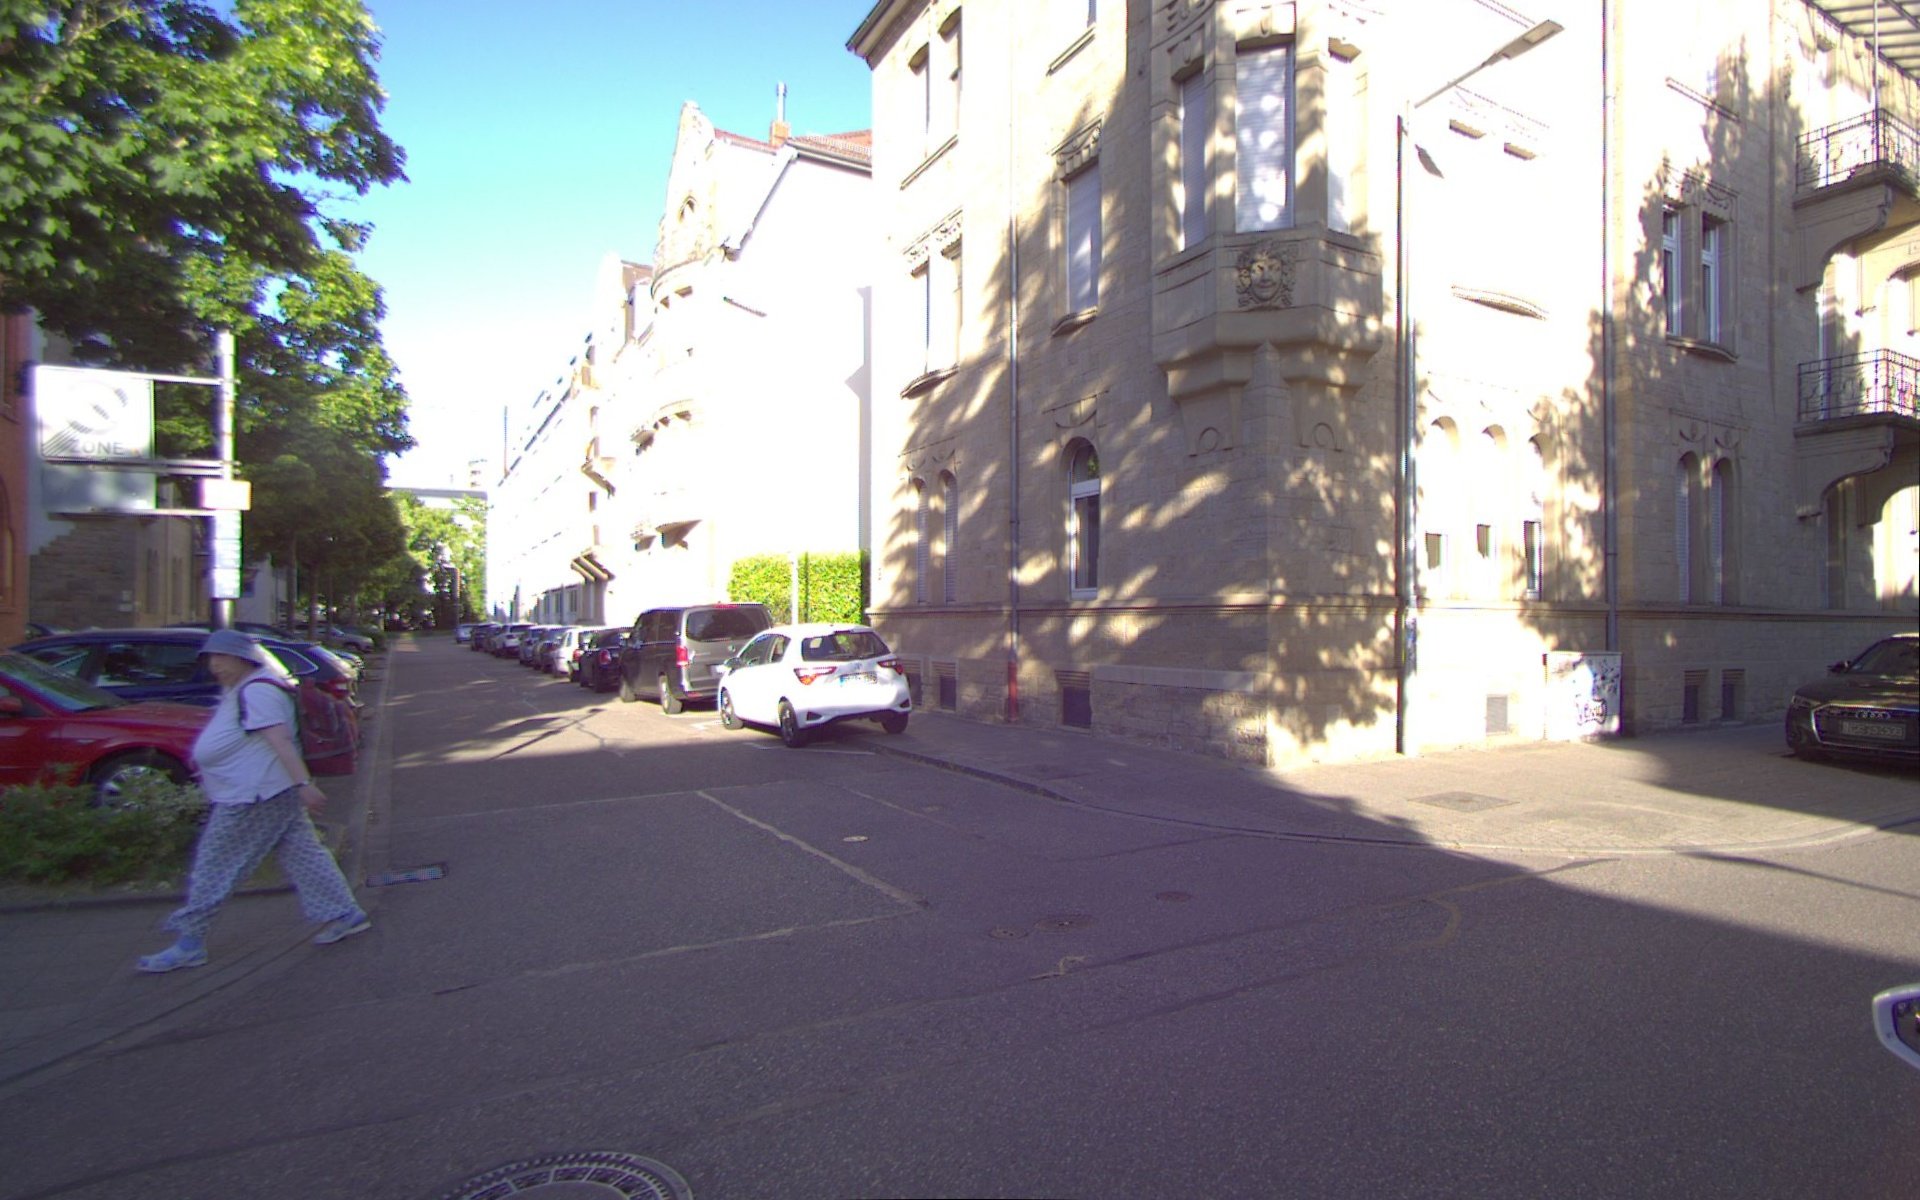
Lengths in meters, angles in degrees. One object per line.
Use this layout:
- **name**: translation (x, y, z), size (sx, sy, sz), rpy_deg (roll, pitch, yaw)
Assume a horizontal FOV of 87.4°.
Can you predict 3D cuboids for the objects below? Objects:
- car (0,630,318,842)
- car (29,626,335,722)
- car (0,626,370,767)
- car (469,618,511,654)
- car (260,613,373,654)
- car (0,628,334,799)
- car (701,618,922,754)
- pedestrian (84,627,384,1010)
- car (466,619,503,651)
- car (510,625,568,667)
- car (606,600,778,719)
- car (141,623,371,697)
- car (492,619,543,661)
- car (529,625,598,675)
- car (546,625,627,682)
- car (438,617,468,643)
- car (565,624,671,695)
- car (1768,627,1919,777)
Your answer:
- **car**: translation (-7.714, 0.993, 7.685), size (4.603, 1.488, 1.628), rpy_deg (1, -1, -30)
- **car**: translation (-13.862, 1.269, 18.257), size (4.163, 1.570, 1.705), rpy_deg (1, -2, -30)
- **car**: translation (-9.630, 1.115, 12.522), size (3.869, 1.532, 1.705), rpy_deg (2, -2, -30)
- **car**: translation (-24.971, 1.902, 53.347), size (1.633, 1.753, 3.387), rpy_deg (-3, 0, -30)
- **car**: translation (-28.635, 1.491, 44.847), size (4.165, 1.722, 1.704), rpy_deg (1, -2, -32)
- **car**: translation (-8.862, 1.075, 10.198), size (4.163, 1.570, 1.705), rpy_deg (1, -2, -30)
- **car**: translation (-2.225, 1.093, 14.171), size (1.699, 1.571, 3.776), rpy_deg (-3, 0, -31)
- **pedestrian**: translation (-3.425, 0.948, 4.879), size (1.041, 1.597, 0.884), rpy_deg (2, -3, -30)
- **car**: translation (-28.013, 2.046, 59.153), size (1.633, 1.753, 3.387), rpy_deg (-3, 0, -30)
- **car**: translation (-15.755, 1.691, 37.517), size (1.471, 1.423, 3.386), rpy_deg (-3, 0, -31)
- **car**: translation (-5.199, 1.032, 18.998), size (1.846, 1.891, 4.688), rpy_deg (-3, 0, -31)
- **car**: translation (-16.031, 1.328, 23.157), size (4.162, 1.570, 1.705), rpy_deg (1, -2, -30)
- **car**: translation (-19.951, 1.782, 45.211), size (1.634, 1.753, 3.386), rpy_deg (-3, 0, -31)
- **car**: translation (-12.768, 1.572, 32.246), size (1.471, 1.423, 3.386), rpy_deg (-3, 0, -31)
- **car**: translation (-10.549, 1.460, 28.226), size (1.471, 1.423, 3.386), rpy_deg (-3, 0, -31)
- **car**: translation (-38.596, 2.265, 76.442), size (1.847, 1.757, 3.967), rpy_deg (2, 1, -30)
- **car**: translation (-8.318, 1.372, 24.247), size (1.584, 1.493, 3.870), rpy_deg (-3, 0, -31)
- **car**: translation (11.563, 1.096, 11.669), size (4.841, 1.446, 1.802), rpy_deg (1, 1, -31)
